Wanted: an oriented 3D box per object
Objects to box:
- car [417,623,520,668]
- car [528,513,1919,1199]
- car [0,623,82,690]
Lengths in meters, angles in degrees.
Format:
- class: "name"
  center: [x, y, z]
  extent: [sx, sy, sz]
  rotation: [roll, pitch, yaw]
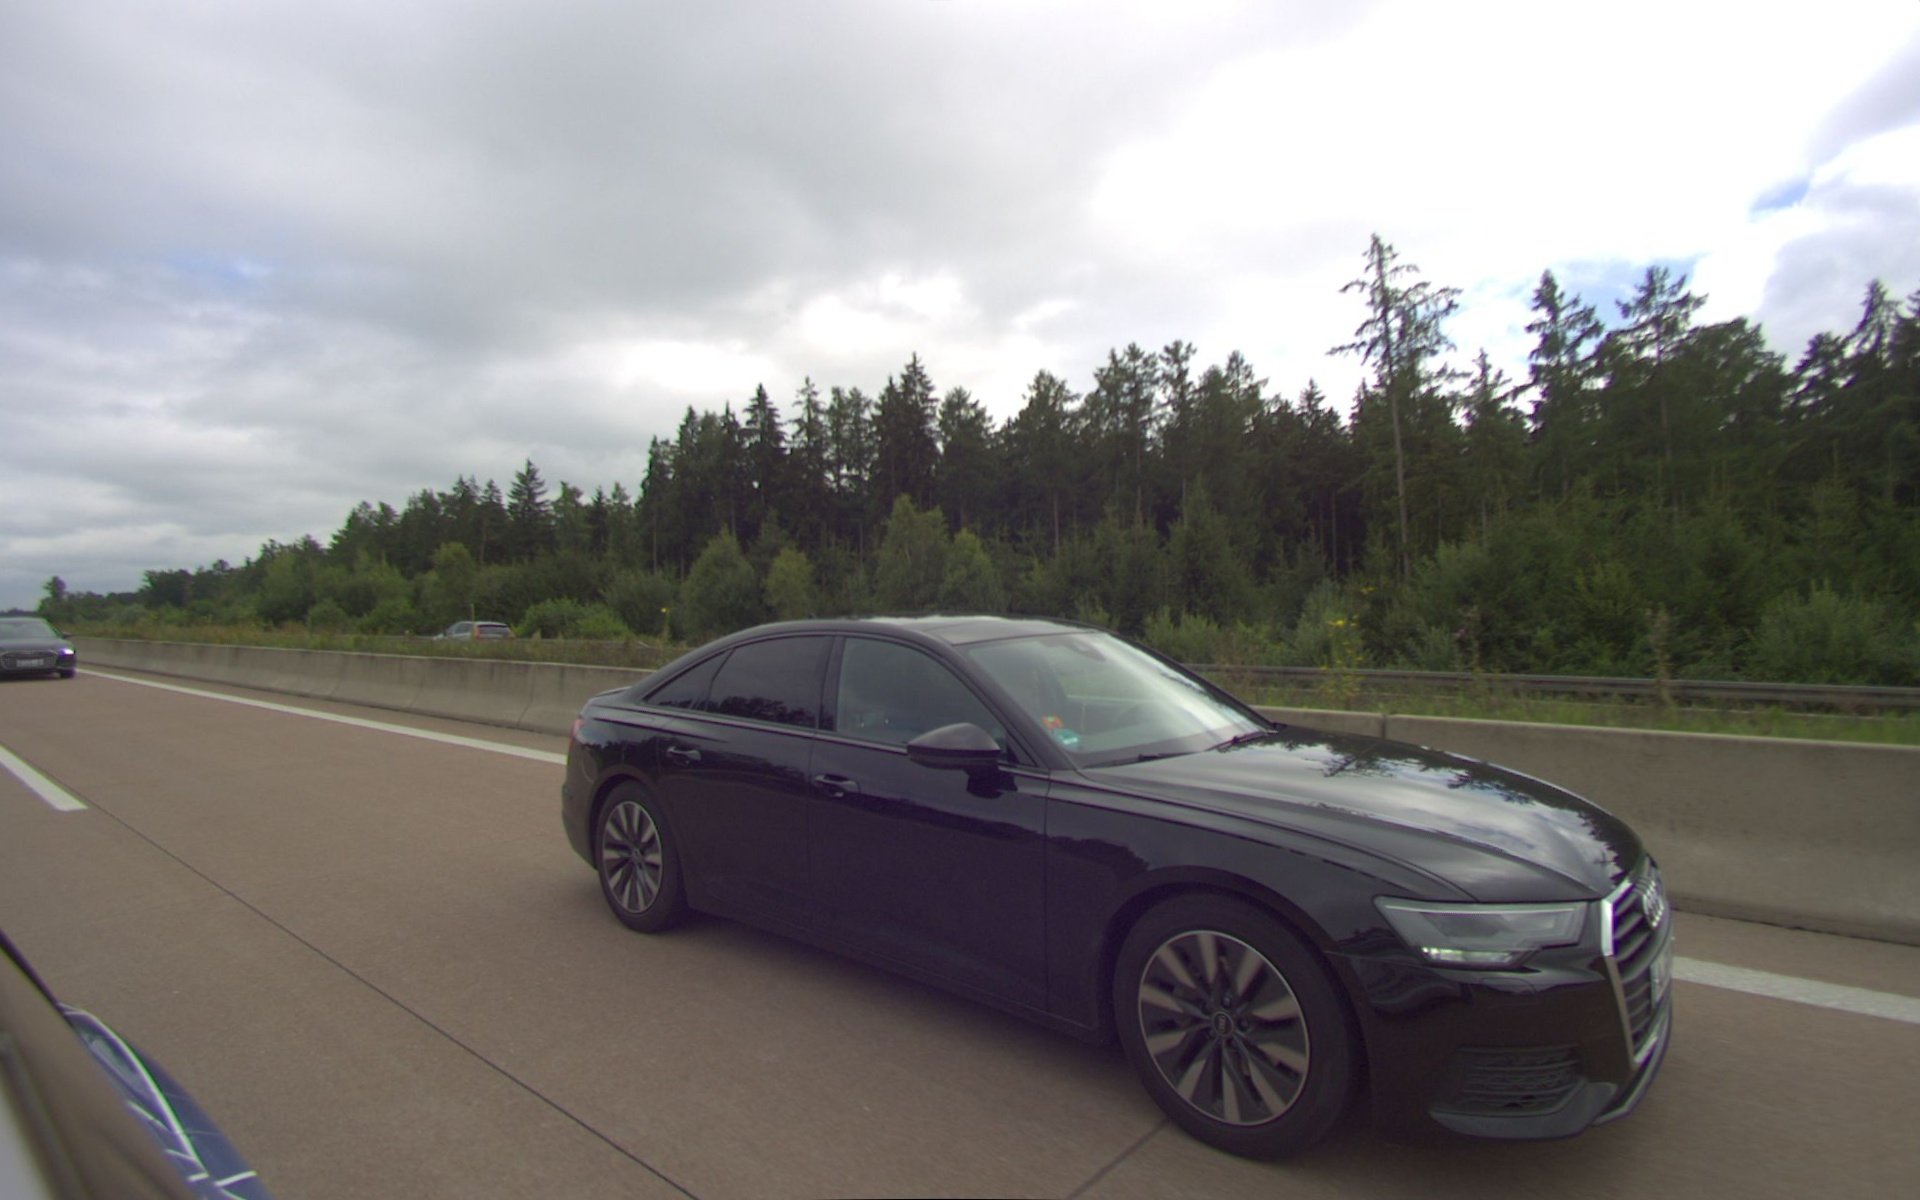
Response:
- class: "car"
  center: [-19.750, 1.785, 40.551]
  extent: [4.884, 1.693, 1.973]
  rotation: [-1, -2, 41]
- class: "car"
  center: [0.558, 0.672, 4.000]
  extent: [5.674, 1.562, 2.062]
  rotation: [-2, 0, 43]
- class: "car"
  center: [-23.544, 1.336, 25.029]
  extent: [5.450, 1.503, 2.037]
  rotation: [-1, -1, 41]
